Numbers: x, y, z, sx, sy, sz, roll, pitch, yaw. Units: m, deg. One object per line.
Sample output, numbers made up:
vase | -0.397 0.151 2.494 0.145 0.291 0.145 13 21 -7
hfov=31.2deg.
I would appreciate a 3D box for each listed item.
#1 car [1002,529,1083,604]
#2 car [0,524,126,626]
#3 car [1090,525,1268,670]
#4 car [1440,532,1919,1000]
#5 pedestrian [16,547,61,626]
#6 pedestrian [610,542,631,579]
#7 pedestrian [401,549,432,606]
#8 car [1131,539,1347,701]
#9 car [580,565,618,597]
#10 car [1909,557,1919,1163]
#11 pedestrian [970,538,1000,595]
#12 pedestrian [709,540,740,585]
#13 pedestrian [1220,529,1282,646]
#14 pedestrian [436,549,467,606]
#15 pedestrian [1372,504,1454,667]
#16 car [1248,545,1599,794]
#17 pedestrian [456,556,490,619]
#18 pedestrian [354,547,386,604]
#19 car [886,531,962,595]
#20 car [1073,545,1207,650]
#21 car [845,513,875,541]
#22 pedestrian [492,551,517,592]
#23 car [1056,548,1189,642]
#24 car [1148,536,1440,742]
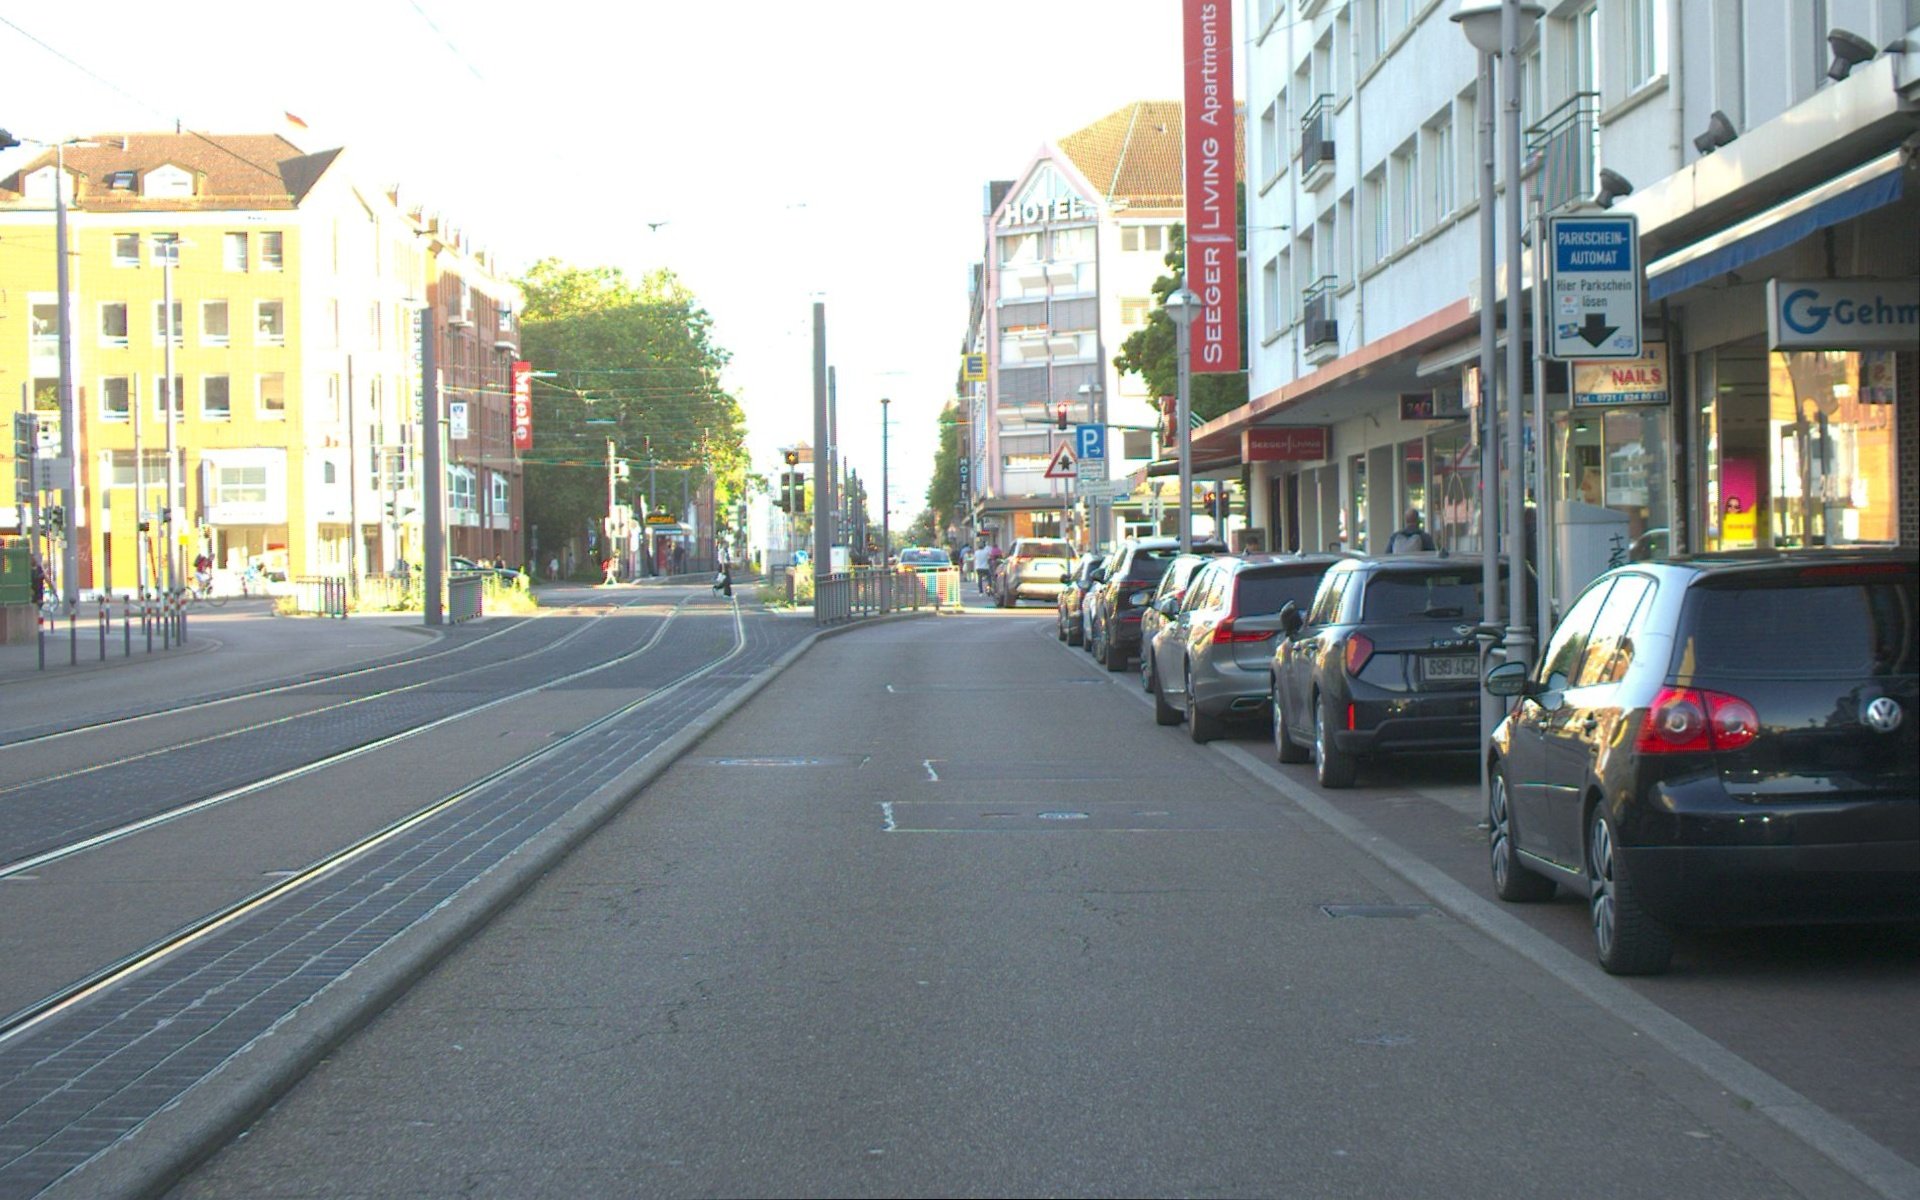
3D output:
car | 1.939 -0.779 81.868 1.835 1.630 4.090 -2 -1 1
car | -19.198 -0.508 70.381 3.986 2.007 2.001 -1 1 -16
car | 2.702 -0.046 43.337 1.856 1.695 4.418 1 0 -1
car | 3.040 0.530 13.210 1.765 1.508 4.072 1 0 -1
pedestrian | -18.181 -0.269 67.845 0.719 1.531 0.719 -1 0 -5
pedestrian | -15.564 -1.809 157.607 0.805 1.658 0.703 1 0 4
pedestrian | -13.167 -0.551 83.250 0.663 1.370 0.652 0 1 -3
car | 2.772 0.153 34.993 1.781 1.517 4.357 1 1 0
car | -22.854 -1.209 217.652 1.955 2.007 4.000 1 0 -1
car | 3.165 0.653 6.347 1.654 1.458 4.023 1 0 -1
pedestrian | 0.758 -1.000 103.711 0.874 1.700 0.700 1 0 2
pedestrian | -7.270 -1.163 106.230 0.903 1.370 0.854 -1 1 -3
pedestrian | 3.955 -0.178 46.756 0.733 1.568 0.967 -1 1 -1
pedestrian | -12.355 -0.555 83.565 0.663 1.370 0.652 -1 1 -3
pedestrian | 5.330 -0.171 40.461 0.774 1.874 0.935 -1 0 -2
car | 2.971 0.405 22.802 1.726 1.476 4.000 1 0 -1
pedestrian | -10.758 -0.283 75.978 0.663 1.370 0.652 1 0 -3
pedestrian | -14.270 -0.596 83.153 0.663 1.370 0.652 -1 1 -3
car | -1.015 -1.038 98.209 1.993 1.590 4.000 -5 -1 0
car | 2.557 -0.049 49.544 1.651 1.416 4.191 1 0 -1
car | -7.116 -5.187 245.697 1.993 1.894 4.000 1 0 0
pedestrian | -22.294 -1.403 168.388 1.093 2.007 1.163 1 0 -3
car | 2.535 -0.091 54.675 1.790 1.408 4.688 1 0 -1
car | 2.658 0.278 28.428 1.791 1.528 4.857 1 0 -2
